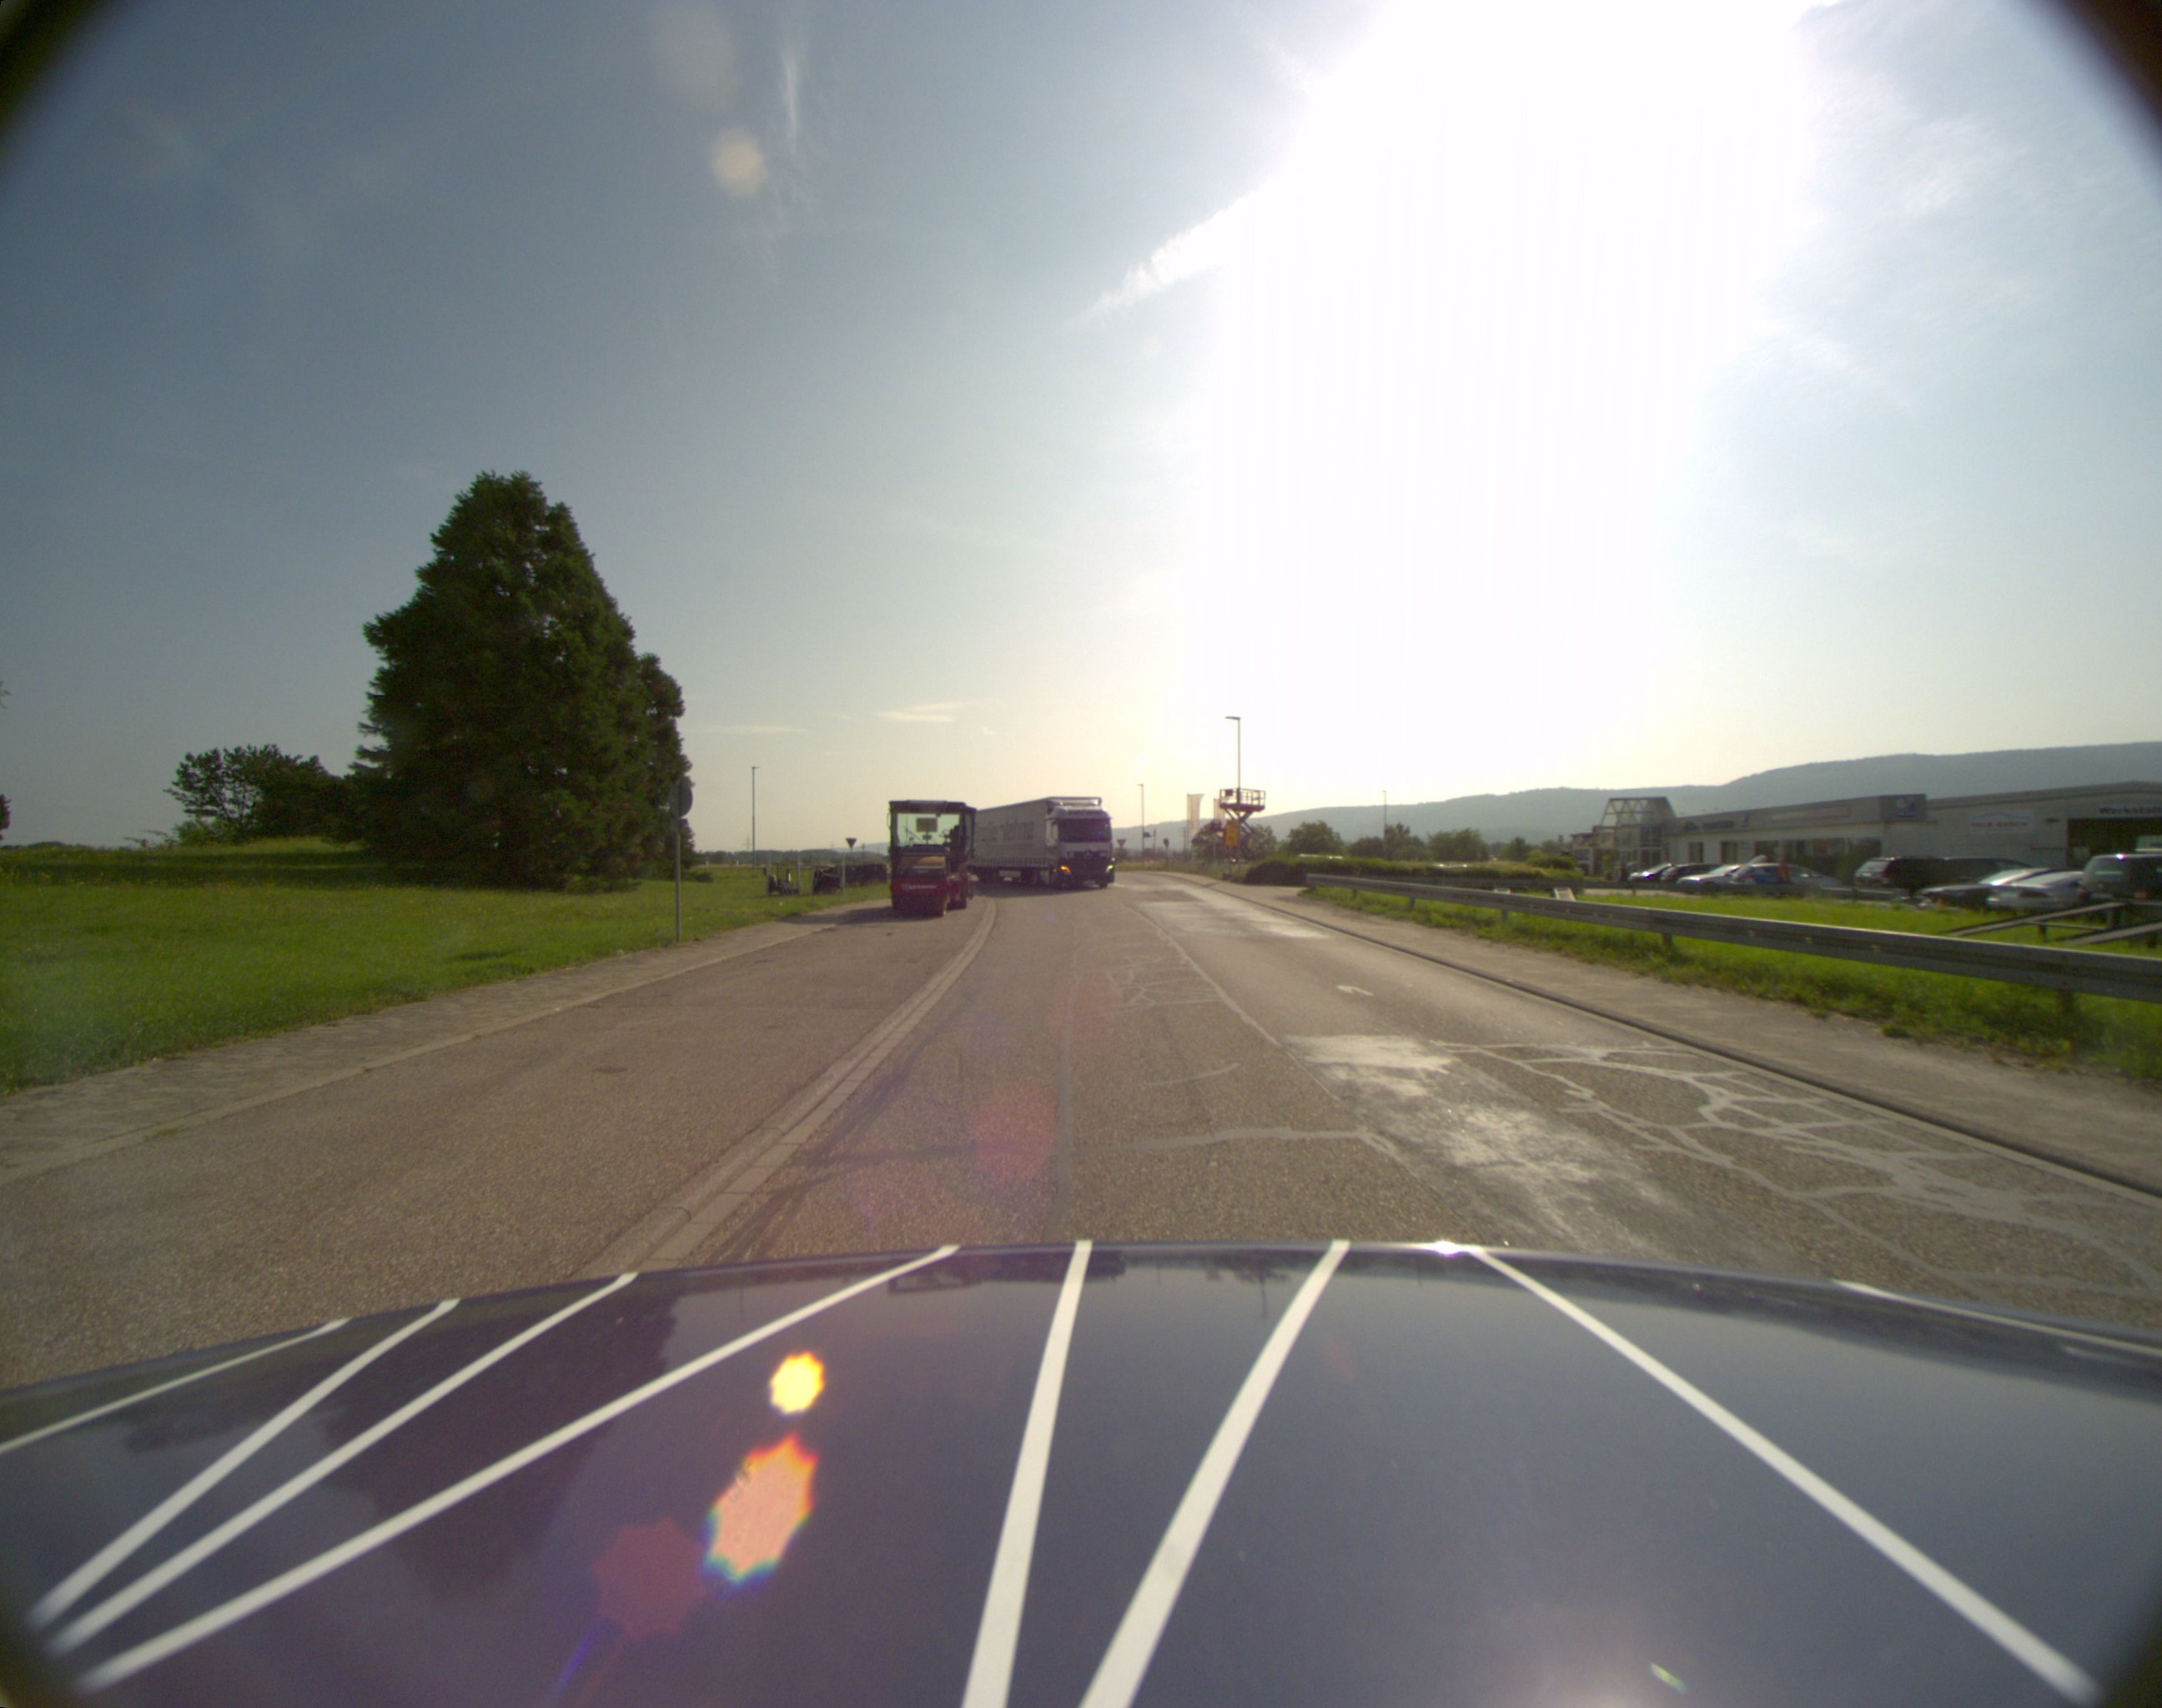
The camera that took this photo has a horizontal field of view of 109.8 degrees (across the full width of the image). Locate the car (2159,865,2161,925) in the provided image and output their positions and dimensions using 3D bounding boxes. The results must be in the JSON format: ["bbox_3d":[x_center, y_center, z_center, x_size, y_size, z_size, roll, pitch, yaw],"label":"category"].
[{"bbox_3d":[25.070,0.911,15.191,3.750,1.301,1.808,1,1,15],"label":"car"}]

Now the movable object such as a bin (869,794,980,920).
[{"bbox_3d":[-4.154,0.065,21.168,2.435,2.994,5.750,1,0,-6],"label":"movable object such as a bin"}]

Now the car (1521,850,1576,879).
[{"bbox_3d":[34.792,0.743,56.675,1.997,2.002,4.160,1,0,9],"label":"car"}]

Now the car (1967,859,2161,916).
[{"bbox_3d":[26.792,0.863,20.274,3.750,1.381,1.731,1,1,15],"label":"car"}]

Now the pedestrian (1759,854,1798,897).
[{"bbox_3d":[29.833,0.903,32.504,0.841,1.744,0.991,-3,2,-29],"label":"pedestrian"}]

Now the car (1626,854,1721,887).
[{"bbox_3d":[35.127,0.962,45.201,4.087,1.861,1.820,1,1,24],"label":"car"}]

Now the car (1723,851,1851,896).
[{"bbox_3d":[31.707,0.876,34.238,3.767,1.785,1.934,-2,1,14],"label":"car"}]

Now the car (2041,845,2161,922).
[{"bbox_3d":[25.891,0.683,17.888,3.750,1.741,1.751,1,1,15],"label":"car"}]

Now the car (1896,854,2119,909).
[{"bbox_3d":[27.448,0.779,22.666,3.993,1.512,1.686,1,1,13],"label":"car"}]

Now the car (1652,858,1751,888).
[{"bbox_3d":[32.753,0.997,40.206,3.659,1.455,1.766,1,1,16],"label":"car"}]

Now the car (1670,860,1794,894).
[{"bbox_3d":[31.672,1.073,37.103,4.149,1.527,1.885,1,1,13],"label":"car"}]

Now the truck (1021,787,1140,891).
[{"bbox_3d":[-0.192,-0.678,34.502,3.400,4.183,6.088,-3,1,-20],"label":"truck"}]

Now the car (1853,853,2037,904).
[{"bbox_3d":[28.207,0.765,24.932,3.681,1.512,1.686,1,1,13],"label":"car"}]

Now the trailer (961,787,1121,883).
[{"bbox_3d":[-2.733,-0.886,40.577,3.504,4.183,14.205,-3,1,-24],"label":"trailer"}]
